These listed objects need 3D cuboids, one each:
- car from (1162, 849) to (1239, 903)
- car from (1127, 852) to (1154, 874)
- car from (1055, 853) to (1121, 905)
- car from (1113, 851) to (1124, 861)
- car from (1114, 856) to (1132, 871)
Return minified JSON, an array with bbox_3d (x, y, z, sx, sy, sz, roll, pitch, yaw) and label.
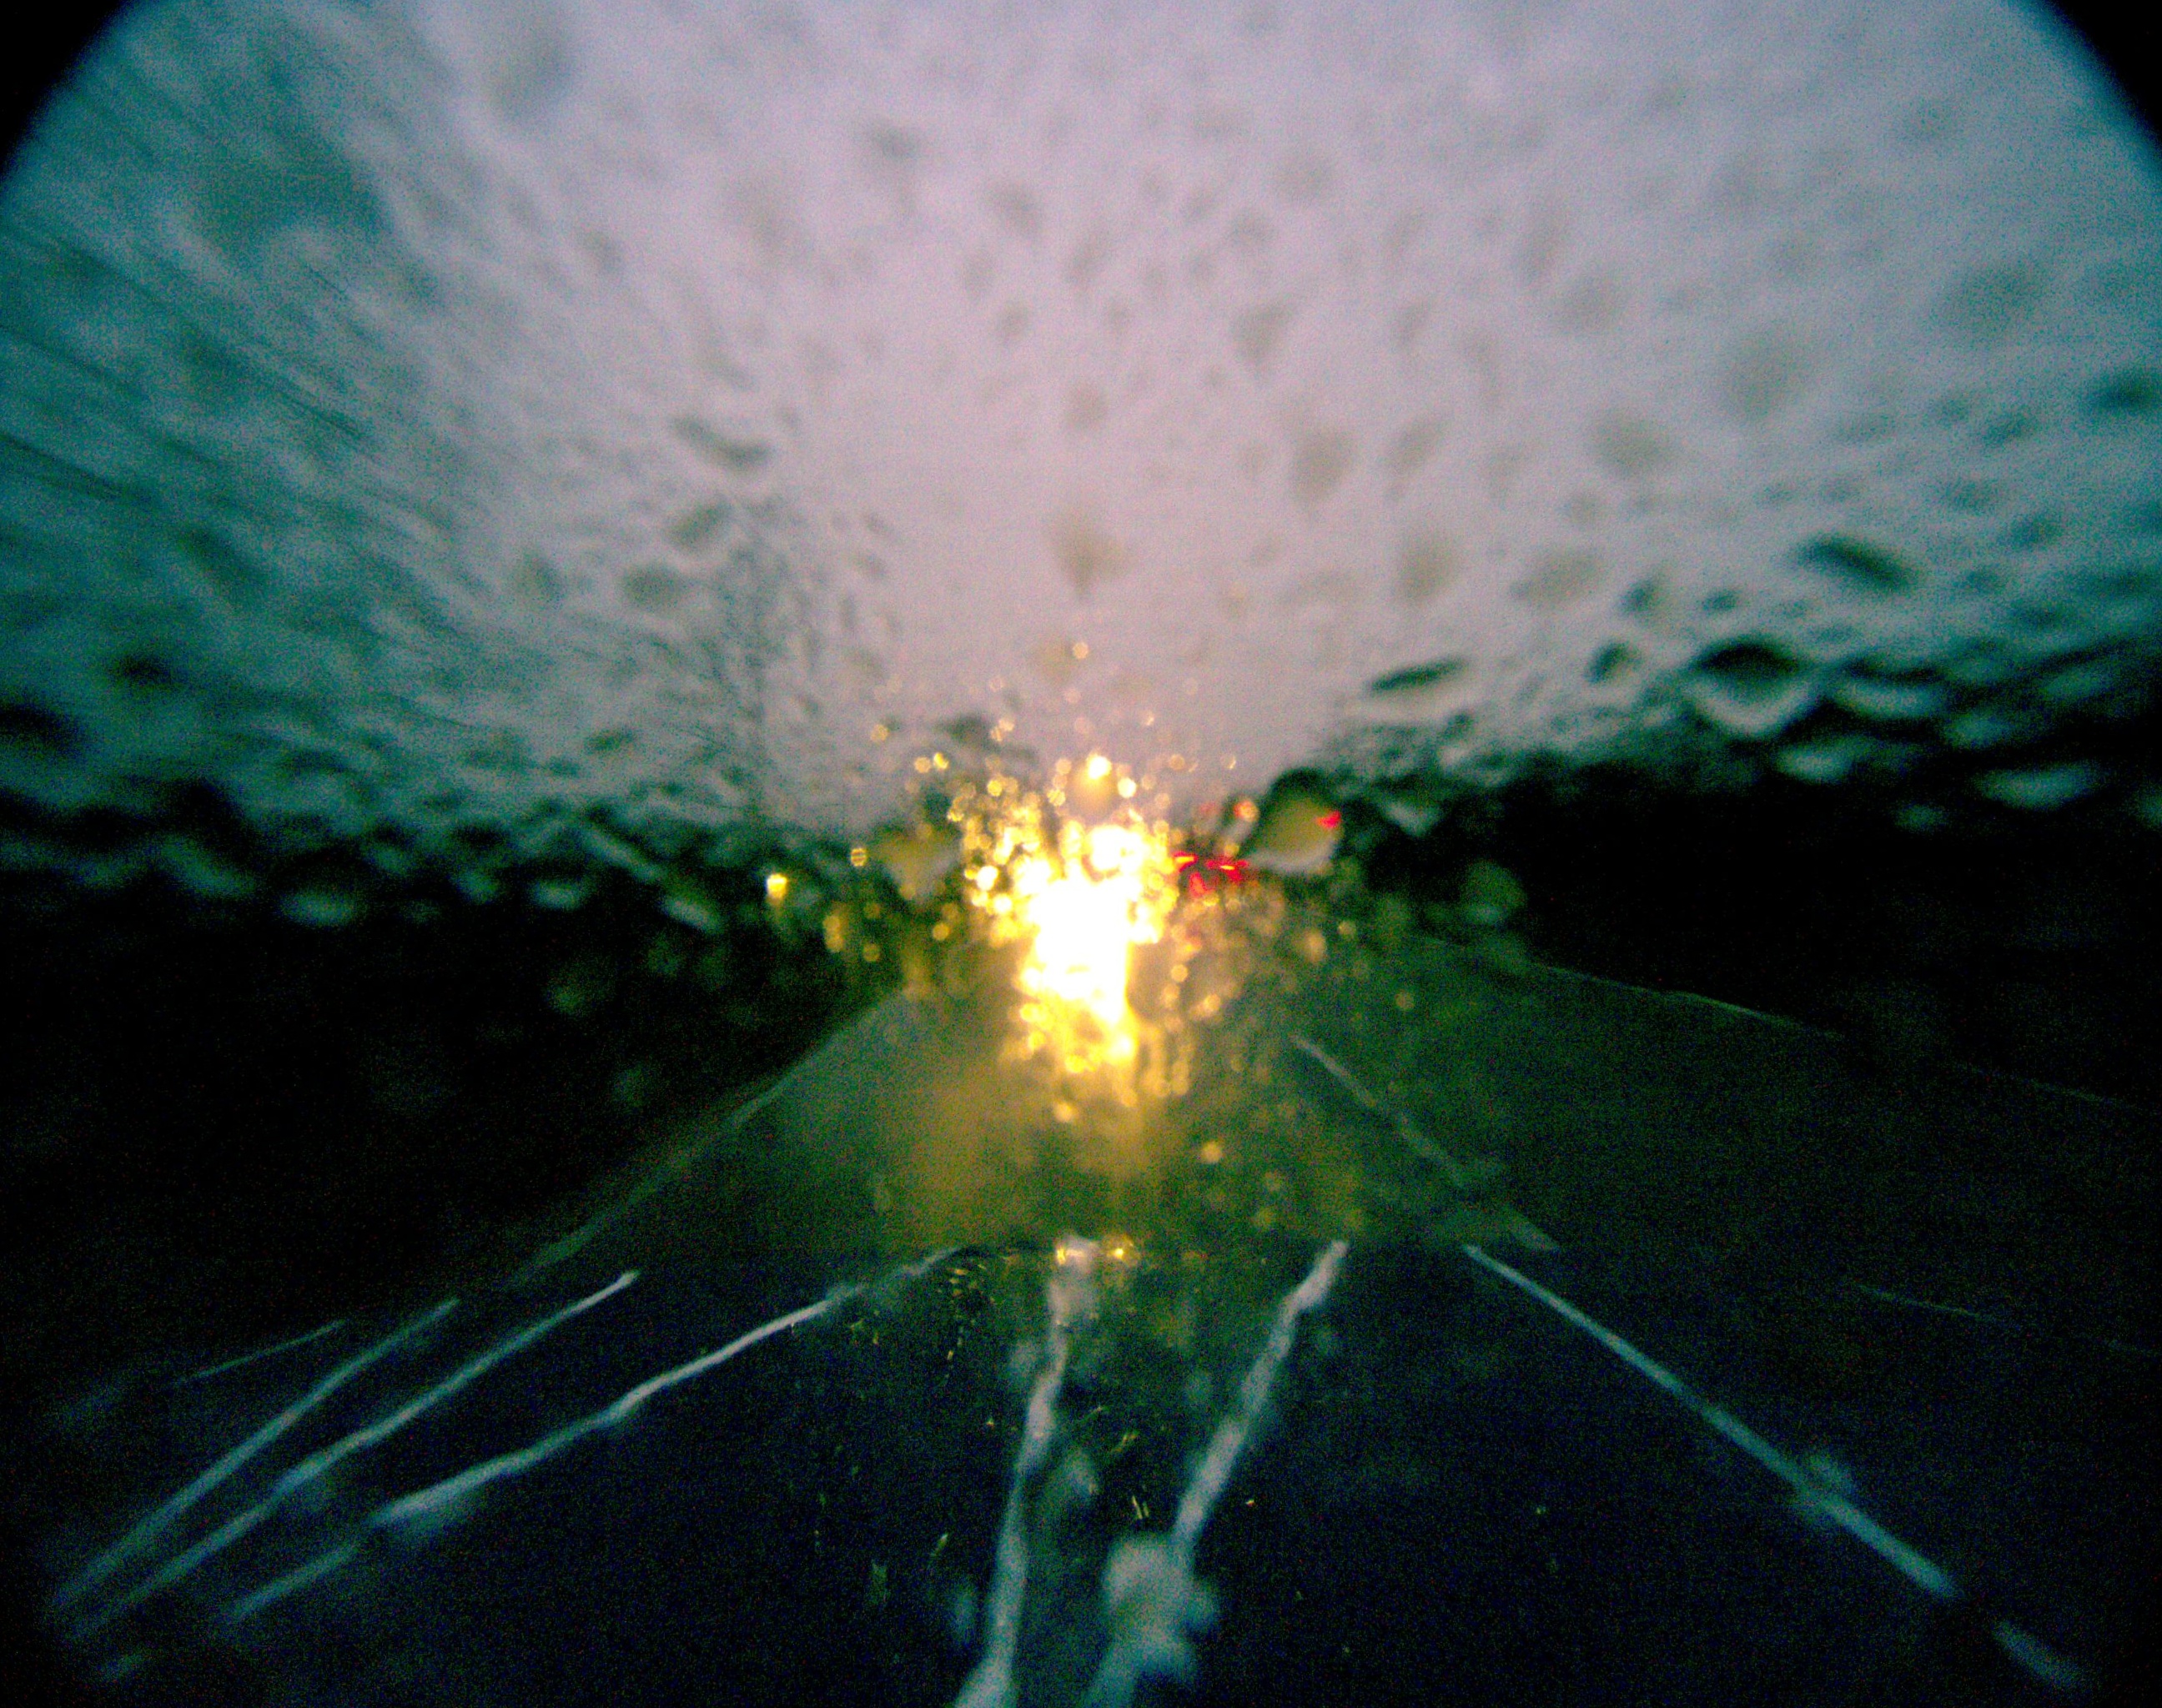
[{"bbox_3d":[4.005,0.679,26.142,1.927,1.645,4.104,-2,0,0],"label":"car"},{"bbox_3d":[4.735,0.699,60.569,1.784,1.586,4.692,-2,0,1],"label":"car"},{"bbox_3d":[0.333,0.811,26.685,1.998,1.601,4.001,-2,0,4],"label":"car"},{"bbox_3d":[6.325,0.299,129.419,1.695,1.521,4.085,-2,0,1],"label":"car"},{"bbox_3d":[4.765,1.091,87.268,1.757,1.637,4.048,-2,0,-1],"label":"car"}]
